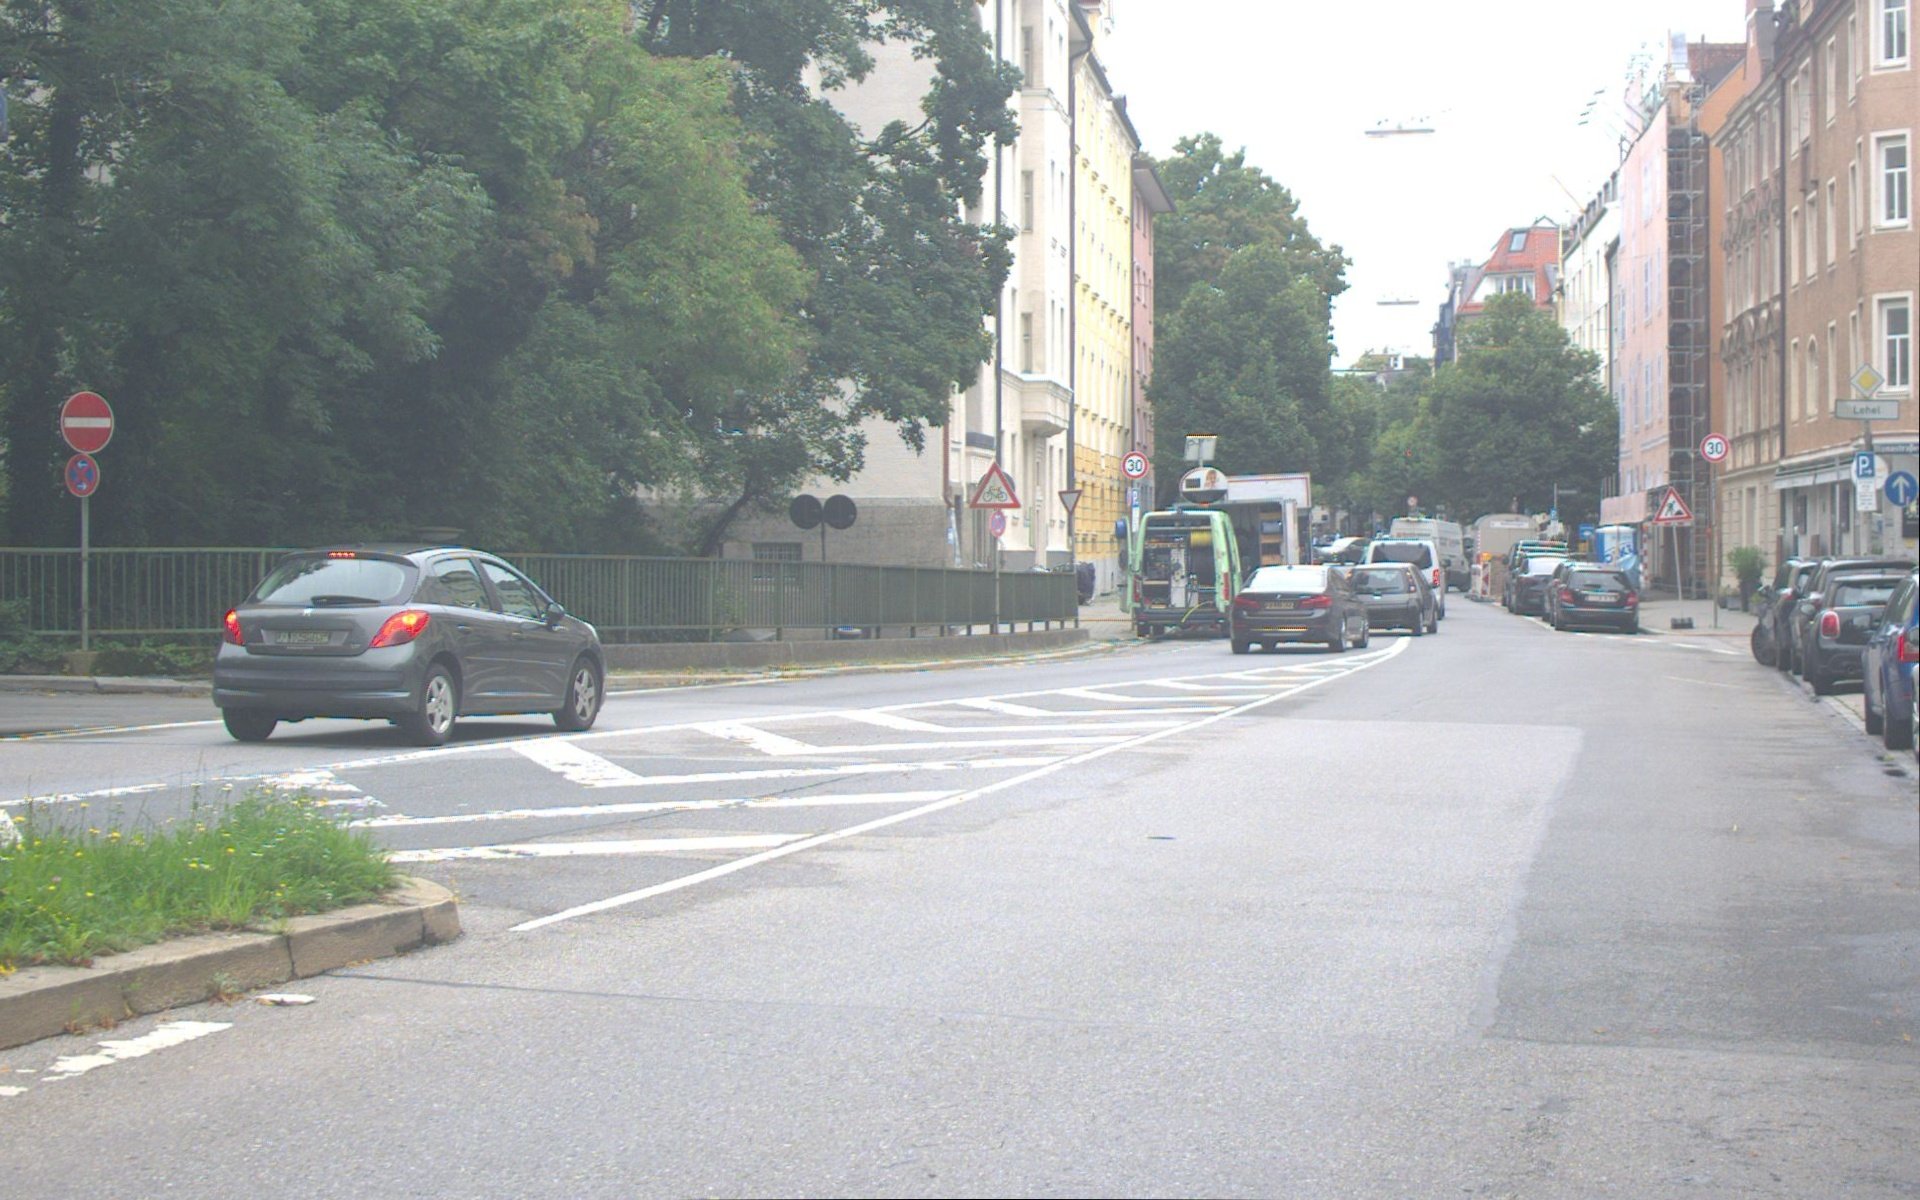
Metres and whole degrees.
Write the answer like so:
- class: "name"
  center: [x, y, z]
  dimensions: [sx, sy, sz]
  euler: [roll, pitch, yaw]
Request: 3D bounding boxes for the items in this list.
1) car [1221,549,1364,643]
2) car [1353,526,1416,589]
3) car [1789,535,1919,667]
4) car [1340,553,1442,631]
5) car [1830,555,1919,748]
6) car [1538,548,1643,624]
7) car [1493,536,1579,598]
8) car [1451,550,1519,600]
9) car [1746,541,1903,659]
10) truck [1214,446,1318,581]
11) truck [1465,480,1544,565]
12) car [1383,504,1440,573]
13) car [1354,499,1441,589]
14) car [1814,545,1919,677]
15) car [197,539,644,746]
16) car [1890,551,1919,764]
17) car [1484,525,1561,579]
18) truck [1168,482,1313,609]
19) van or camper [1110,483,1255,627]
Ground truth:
- class: "car"
  center: [5.657, -0.101, 58.016]
  dimensions: [1.991, 1.424, 4.904]
  euler: [0, 2, 11]
- class: "car"
  center: [13.855, -1.407, 112.458]
  dimensions: [1.994, 2.007, 3.999]
  euler: [0, 1, 6]
- class: "car"
  center: [12.273, -0.029, 46.600]
  dimensions: [1.757, 1.673, 4.704]
  euler: [-1, 1, 11]
- class: "car"
  center: [8.701, -0.187, 69.343]
  dimensions: [1.991, 1.424, 4.139]
  euler: [0, 2, 7]
- class: "car"
  center: [8.454, 0.370, 29.230]
  dimensions: [1.757, 1.491, 4.485]
  euler: [-1, 1, 11]
- class: "car"
  center: [13.685, -0.329, 74.805]
  dimensions: [1.844, 1.424, 4.183]
  euler: [3, 2, 6]
- class: "car"
  center: [14.943, -0.878, 89.339]
  dimensions: [1.844, 1.424, 4.306]
  euler: [3, 2, 6]
- class: "car"
  center: [16.323, -0.786, 106.963]
  dimensions: [1.991, 1.424, 4.139]
  euler: [0, 2, 7]
- class: "car"
  center: [12.973, -0.037, 51.830]
  dimensions: [1.819, 1.673, 4.509]
  euler: [-1, 1, 8]
- class: "truck"
  center: [9.310, -2.619, 104.428]
  dimensions: [3.013, 3.938, 6.994]
  euler: [1, 1, 5]
- class: "truck"
  center: [19.443, -2.758, 122.935]
  dimensions: [2.492, 2.963, 5.326]
  euler: [1, 1, 6]
- class: "car"
  center: [16.451, -2.244, 125.218]
  dimensions: [1.940, 2.472, 4.781]
  euler: [1, 1, 8]
- class: "car"
  center: [10.449, -1.361, 82.073]
  dimensions: [1.991, 2.068, 4.139]
  euler: [0, 2, 7]
- class: "car"
  center: [11.212, 0.093, 41.367]
  dimensions: [1.757, 1.491, 3.821]
  euler: [-1, 1, 14]
- class: "car"
  center: [-4.039, 0.262, 26.432]
  dimensions: [1.760, 1.456, 4.071]
  euler: [0, 1, 18]
- class: "car"
  center: [7.642, 0.395, 24.346]
  dimensions: [1.691, 1.491, 4.432]
  euler: [-1, 1, 11]
- class: "car"
  center: [15.870, -1.364, 97.139]
  dimensions: [1.991, 1.424, 4.139]
  euler: [0, 2, 7]
- class: "truck"
  center: [6.720, -1.354, 81.507]
  dimensions: [2.774, 2.863, 7.199]
  euler: [0, 2, 10]
- class: "van or camper"
  center: [4.664, -0.997, 71.173]
  dimensions: [2.601, 2.830, 6.184]
  euler: [0, 2, 7]
